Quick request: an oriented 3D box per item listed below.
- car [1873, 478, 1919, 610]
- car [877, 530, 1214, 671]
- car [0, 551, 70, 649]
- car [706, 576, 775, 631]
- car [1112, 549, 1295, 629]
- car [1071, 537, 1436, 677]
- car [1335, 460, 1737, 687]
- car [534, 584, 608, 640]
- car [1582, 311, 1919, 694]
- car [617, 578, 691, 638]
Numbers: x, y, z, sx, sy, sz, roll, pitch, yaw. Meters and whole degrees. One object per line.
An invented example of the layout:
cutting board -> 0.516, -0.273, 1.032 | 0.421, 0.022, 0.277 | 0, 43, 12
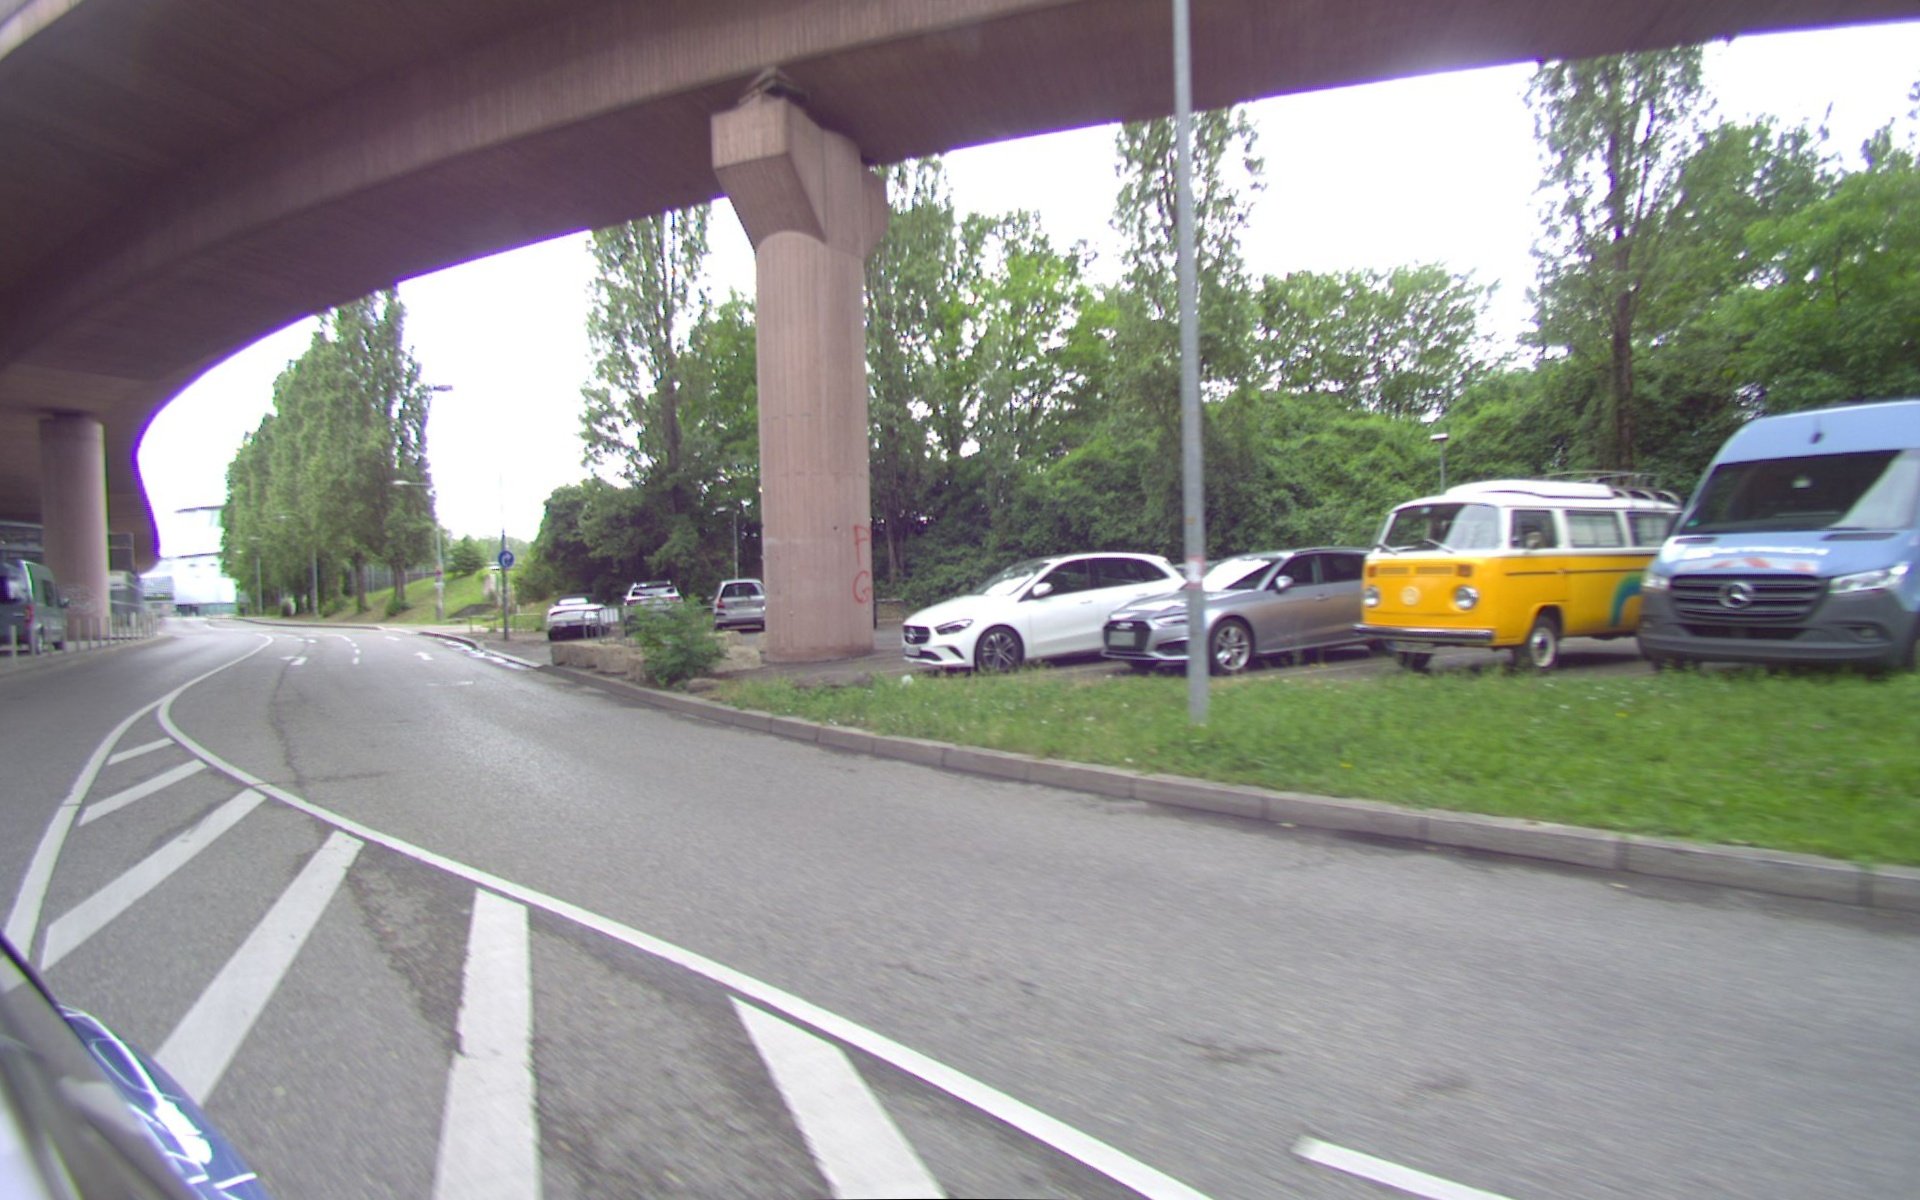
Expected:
car -> 18.050, -0.984, 15.954 | 2.088, 2.272, 5.033 | 0, -1, -17
car -> 1.226, -0.046, 14.485 | 4.319, 1.618, 1.961 | -4, 1, -25
car -> -27.809, 0.062, 29.509 | 1.966, 2.633, 6.090 | 0, -1, -33
car -> -6.514, 0.091, 29.795 | 1.762, 1.465, 3.757 | -2, 0, -15
car -> 5.310, -0.200, 22.865 | 1.832, 1.499, 4.902 | -4, 0, -15
car -> 3.757, 0.030, 12.918 | 4.185, 1.381, 2.006 | -4, 1, -28
car -> 6.556, -0.341, 11.410 | 4.493, 2.127, 1.856 | -3, 1, -30
car -> -13.138, 0.339, 34.449 | 1.966, 1.490, 4.844 | -5, 3, -18
car -> 9.016, -0.813, 9.751 | 6.089, 2.745, 2.375 | -3, 0, -29
car -> -9.726, 0.175, 32.122 | 1.967, 1.594, 4.414 | -6, 3, -17
